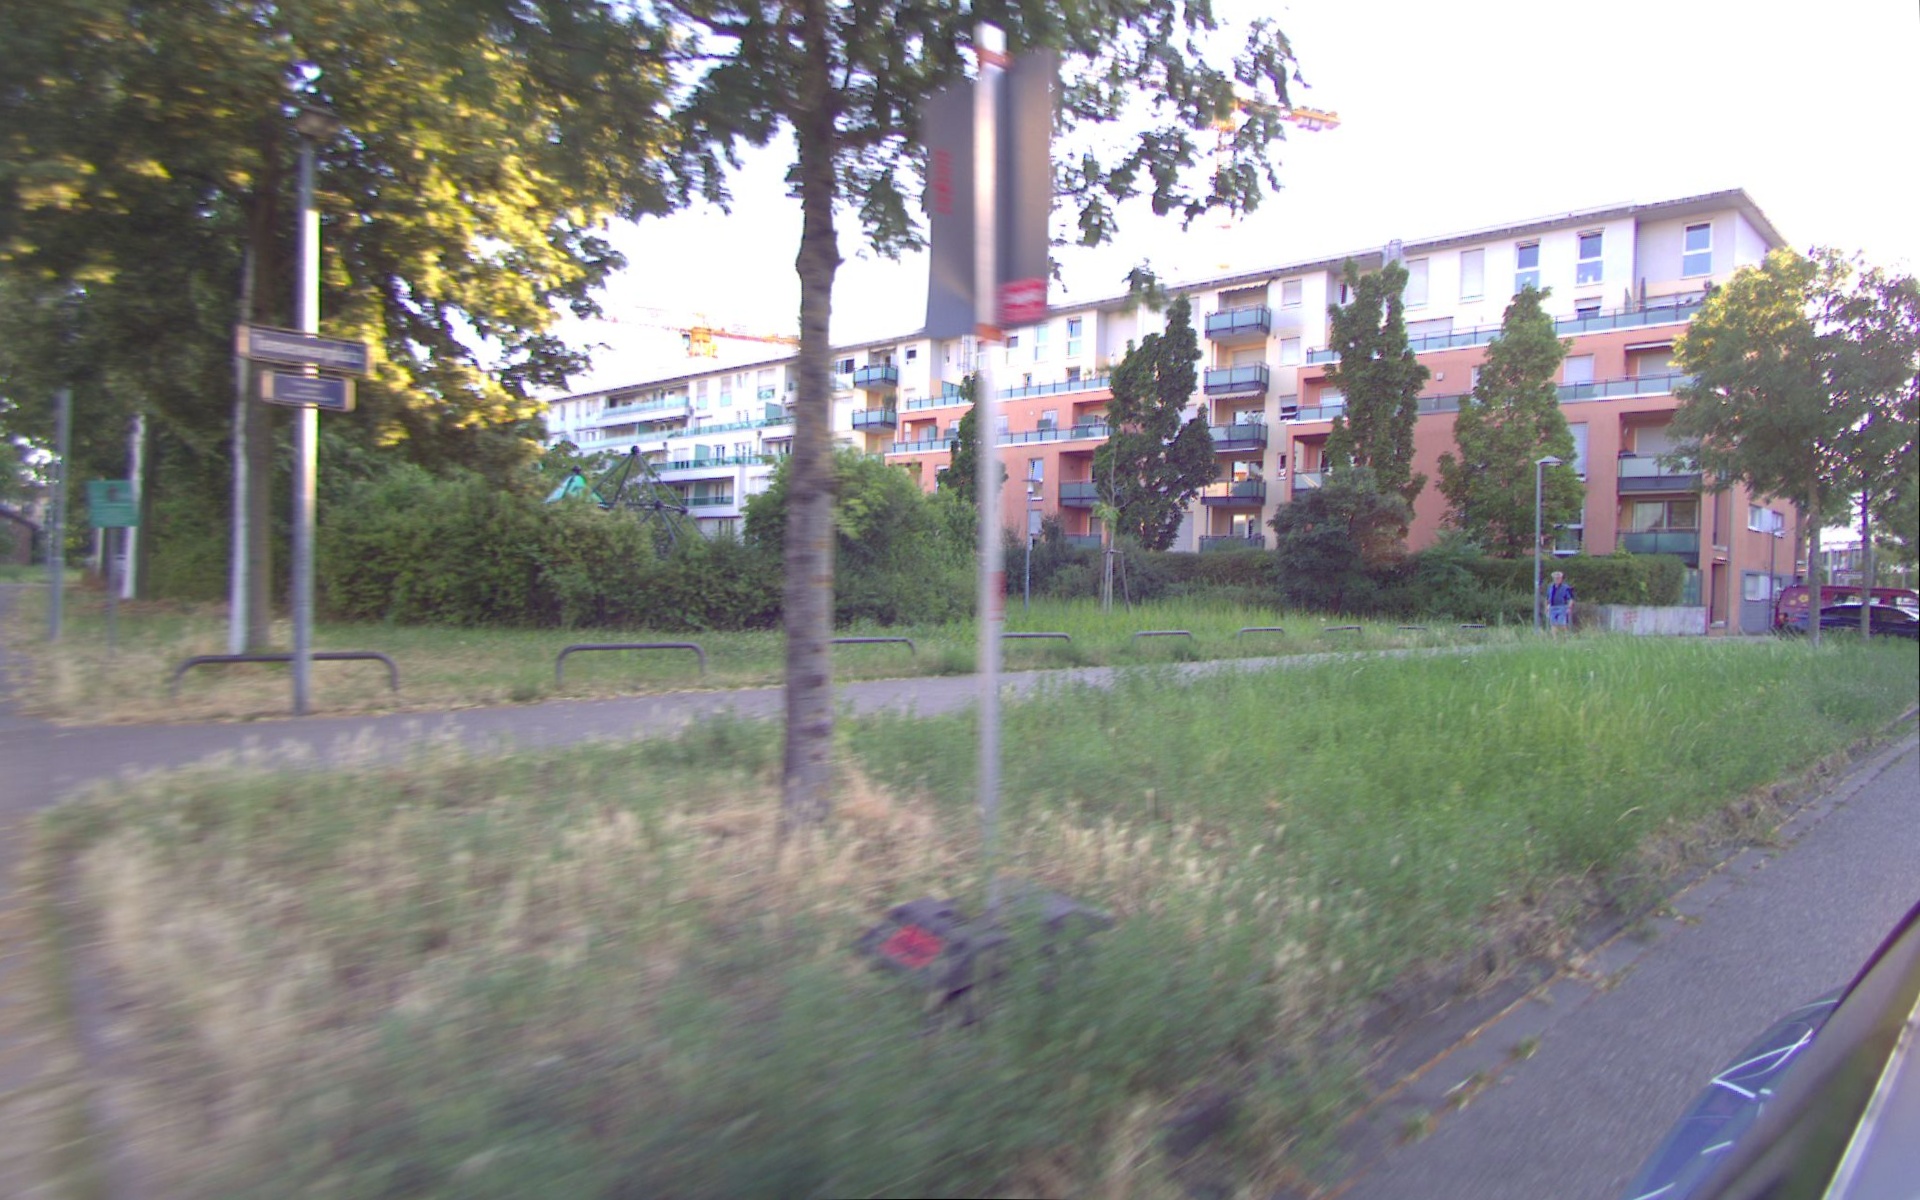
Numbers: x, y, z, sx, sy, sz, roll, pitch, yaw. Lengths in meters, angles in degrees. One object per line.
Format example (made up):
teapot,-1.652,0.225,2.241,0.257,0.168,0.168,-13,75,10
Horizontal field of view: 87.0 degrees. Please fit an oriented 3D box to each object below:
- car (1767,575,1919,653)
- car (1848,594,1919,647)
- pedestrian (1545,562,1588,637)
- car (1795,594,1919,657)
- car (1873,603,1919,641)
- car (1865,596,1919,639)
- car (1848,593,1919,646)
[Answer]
car,27.049,0.380,29.716,1.980,2.143,4.932,1,1,-39
car,29.516,0.676,30.786,1.587,1.483,3.534,1,3,-40
pedestrian,14.579,-0.009,24.318,0.687,1.765,0.670,1,0,-41
car,25.626,0.690,27.193,1.779,1.576,4.678,1,1,-40
car,40.023,0.941,41.499,1.587,1.492,3.751,0,1,-45
car,38.262,0.746,39.586,1.643,1.588,4.059,1,2,-40
car,31.327,0.701,32.316,1.761,1.588,4.226,1,3,-40
